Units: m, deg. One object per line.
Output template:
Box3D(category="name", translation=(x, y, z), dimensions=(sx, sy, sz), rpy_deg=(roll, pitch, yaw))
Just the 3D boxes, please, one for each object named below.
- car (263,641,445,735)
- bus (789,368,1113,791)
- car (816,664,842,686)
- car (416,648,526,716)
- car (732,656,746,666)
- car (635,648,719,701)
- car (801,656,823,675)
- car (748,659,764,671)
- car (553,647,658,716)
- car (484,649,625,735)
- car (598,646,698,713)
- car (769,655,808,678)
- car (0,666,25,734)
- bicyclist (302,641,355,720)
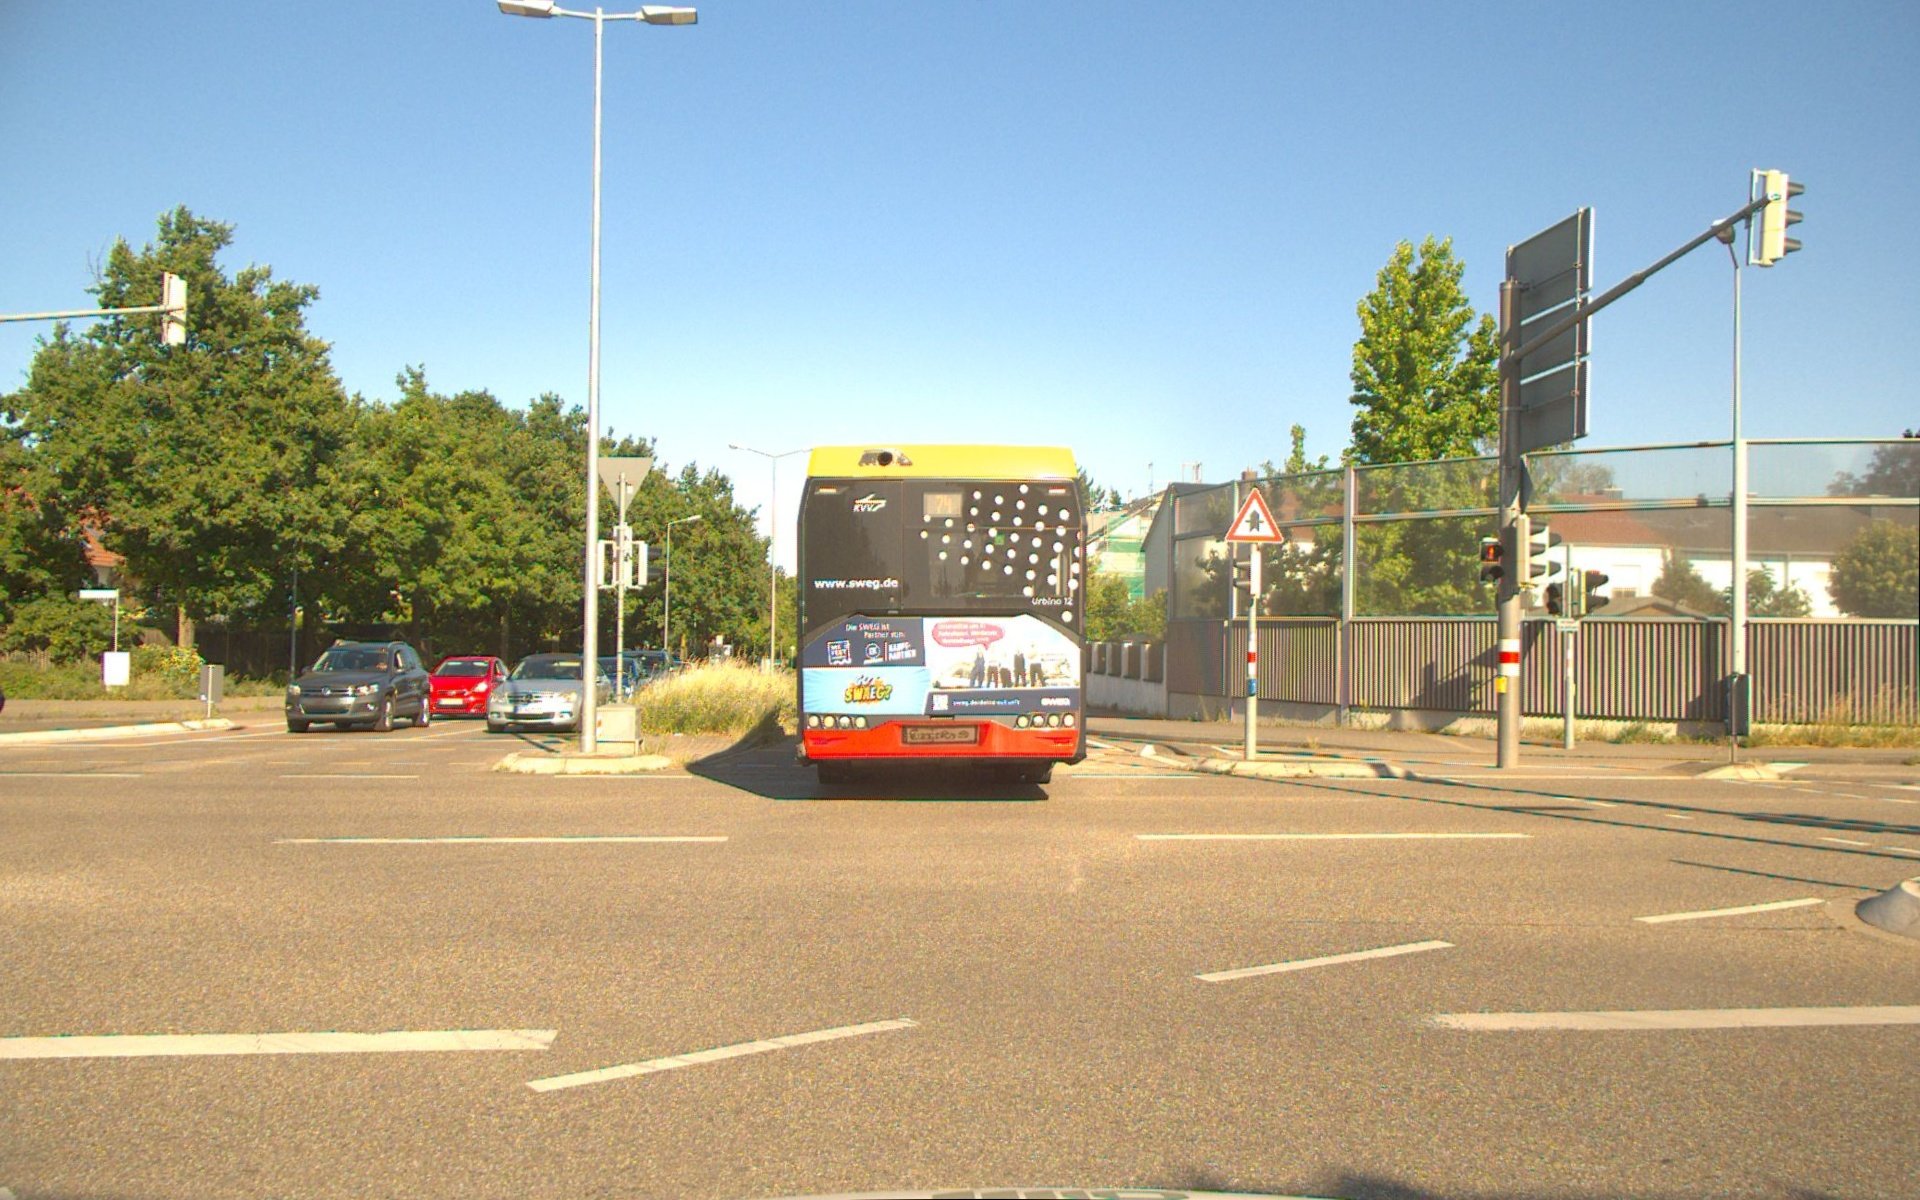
Box3D(category="car", translation=(-11.479, 1.631, 31.691), dimensions=(1.953, 1.673, 4.527), rpy_deg=(0, -2, -3))
Box3D(category="bus", translation=(-0.292, -0.099, 20.011), dimensions=(2.702, 3.519, 12.392), rpy_deg=(0, -1, -2))
Box3D(category="car", translation=(-11.003, 6.294, 138.856), dimensions=(1.900, 1.734, 3.991), rpy_deg=(1, -2, -9))
Box3D(category="car", translation=(-11.461, 1.901, 39.014), dimensions=(1.612, 1.509, 3.711), rpy_deg=(0, -2, -3))
Box3D(category="car", translation=(-33.882, 9.387, 253.587), dimensions=(1.898, 1.480, 3.989), rpy_deg=(1, -2, -10))
Box3D(category="car", translation=(-8.302, 2.171, 48.899), dimensions=(1.954, 1.476, 4.395), rpy_deg=(0, -2, -3))
Box3D(category="car", translation=(-14.371, 6.392, 160.547), dimensions=(1.898, 1.773, 3.991), rpy_deg=(1, -2, -9))
Box3D(category="car", translation=(-28.181, 8.931, 228.380), dimensions=(1.898, 1.569, 3.991), rpy_deg=(1, -2, -9))
Box3D(category="car", translation=(-8.069, 1.829, 37.913), dimensions=(1.712, 1.509, 3.885), rpy_deg=(0, -2, -3))
Box3D(category="car", translation=(-7.693, 1.708, 31.790), dimensions=(1.757, 1.533, 4.527), rpy_deg=(0, -2, -3))
Box3D(category="car", translation=(-8.048, 2.028, 43.040), dimensions=(1.954, 1.644, 4.526), rpy_deg=(0, -2, -3))
Box3D(category="car", translation=(-10.884, 4.215, 105.306), dimensions=(1.673, 1.456, 4.002), rpy_deg=(-1, -2, 5))
Box3D(category="car", translation=(-20.186, 1.849, 30.764), dimensions=(1.998, 1.332, 4.684), rpy_deg=(-1, -4, 19))
Box3D(category="bicyclist", translation=(-14.067, 1.786, 36.853), dimensions=(0.730, 1.732, 1.241), rpy_deg=(1, -2, -4))
